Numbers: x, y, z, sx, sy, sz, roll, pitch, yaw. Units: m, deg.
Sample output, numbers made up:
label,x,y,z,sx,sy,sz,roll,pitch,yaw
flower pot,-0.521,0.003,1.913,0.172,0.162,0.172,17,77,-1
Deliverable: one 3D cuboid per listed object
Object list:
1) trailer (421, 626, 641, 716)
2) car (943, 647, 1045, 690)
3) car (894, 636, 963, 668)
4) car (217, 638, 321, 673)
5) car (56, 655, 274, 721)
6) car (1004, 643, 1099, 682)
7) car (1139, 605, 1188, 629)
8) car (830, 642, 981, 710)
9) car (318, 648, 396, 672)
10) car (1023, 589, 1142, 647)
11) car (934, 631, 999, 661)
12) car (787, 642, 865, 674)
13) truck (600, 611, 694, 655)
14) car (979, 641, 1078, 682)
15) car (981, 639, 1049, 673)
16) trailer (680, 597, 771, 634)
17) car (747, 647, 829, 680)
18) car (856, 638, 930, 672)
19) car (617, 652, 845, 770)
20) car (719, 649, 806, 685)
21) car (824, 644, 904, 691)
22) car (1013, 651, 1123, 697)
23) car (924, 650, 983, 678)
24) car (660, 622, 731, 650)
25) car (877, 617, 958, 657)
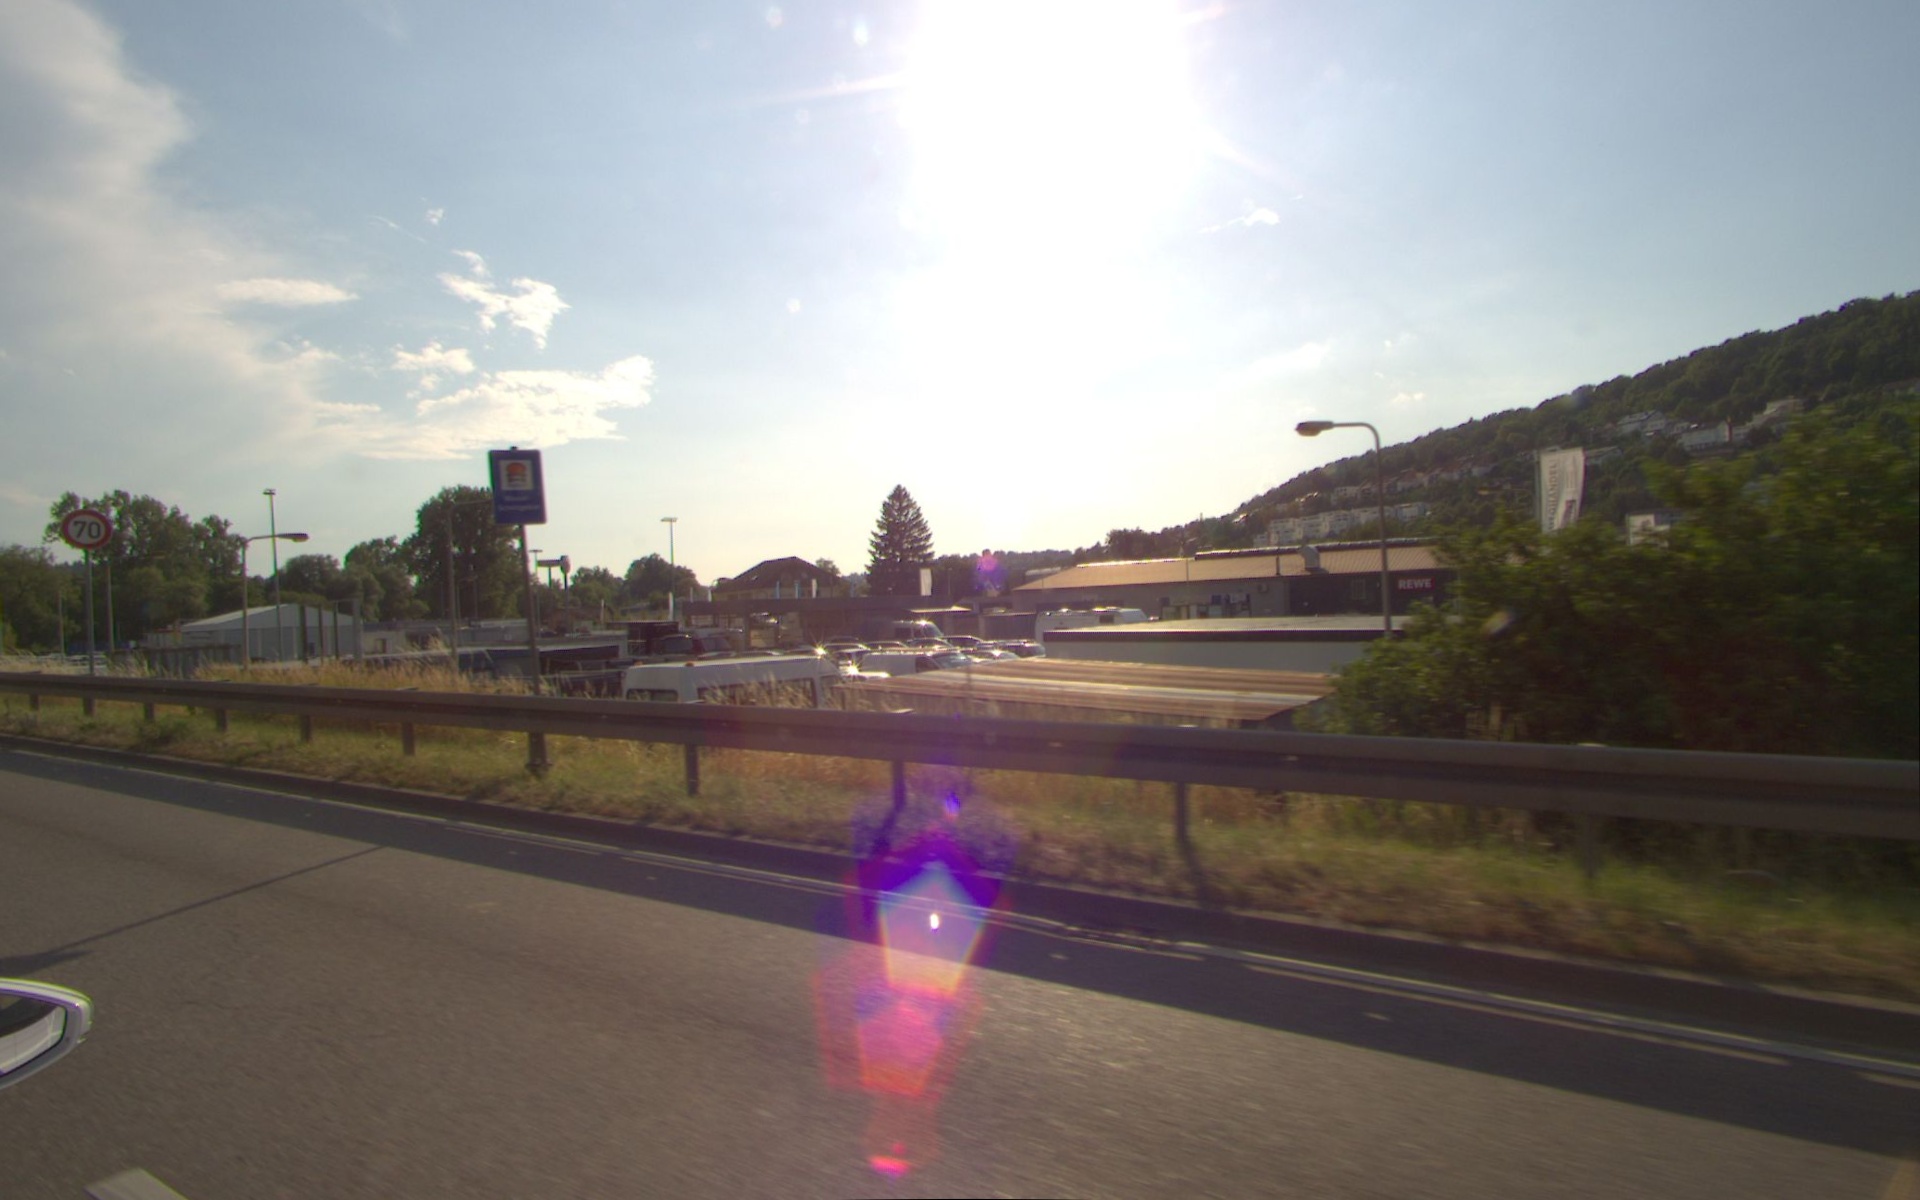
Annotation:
label,x,y,z,sx,sy,sz,roll,pitch,yaw
trailer,-17.706,2.803,41.862,3.316,3.364,7.853,-2,-2,37
car,1.402,2.828,41.688,3.949,1.660,1.750,-2,-2,36
car,-1.767,2.953,57.100,3.603,1.705,1.769,-1,-2,10
car,-38.081,3.016,55.257,1.780,1.736,4.398,-2,-2,40
car,-28.517,3.083,36.160,1.974,2.039,5.865,-2,-2,35
car,4.137,2.826,45.482,3.949,1.660,1.750,-2,-2,36
car,18.505,1.559,91.184,3.945,2.039,1.990,-2,-2,33
car,-1.791,2.360,31.747,4.766,1.976,1.750,-2,-2,37
car,-42.241,4.188,70.248,1.780,1.563,4.399,-2,-2,40
car,5.700,0.898,47.052,5.400,2.582,1.750,-2,-2,37
car,0.409,2.703,59.396,3.603,1.705,1.769,-1,-2,10
car,-7.010,3.014,52.587,3.703,1.590,1.682,-1,-2,7
truck,-17.791,1.906,56.795,5.894,2.400,1.987,-2,-2,36
car,2.941,2.647,43.386,3.949,1.660,1.750,-2,-2,36
car,2.792,2.862,51.605,1.783,1.636,3.419,0,-2,-33
trailer,-14.309,0.963,60.953,6.208,2.048,1.986,-3,-2,38
car,-8.585,3.164,50.160,3.703,1.590,1.682,-1,-2,7
car,-3.645,2.996,54.674,3.606,1.705,1.767,-2,-1,16
car,-4.133,1.946,18.649,1.810,1.839,3.977,-2,-2,34
car,-9.343,3.179,47.579,3.703,1.590,1.682,-1,-2,7
car,-4.503,3.157,47.417,1.807,2.039,3.625,-2,-2,36
car,3.866,2.639,36.045,3.636,1.522,1.753,-3,-3,44
car,-0.303,2.897,45.674,1.342,1.243,2.853,0,-2,-34
car,-15.503,2.117,58.592,4.292,1.563,1.788,-3,-2,38
car,-2.816,2.449,65.604,5.263,2.469,1.986,-3,-2,39
